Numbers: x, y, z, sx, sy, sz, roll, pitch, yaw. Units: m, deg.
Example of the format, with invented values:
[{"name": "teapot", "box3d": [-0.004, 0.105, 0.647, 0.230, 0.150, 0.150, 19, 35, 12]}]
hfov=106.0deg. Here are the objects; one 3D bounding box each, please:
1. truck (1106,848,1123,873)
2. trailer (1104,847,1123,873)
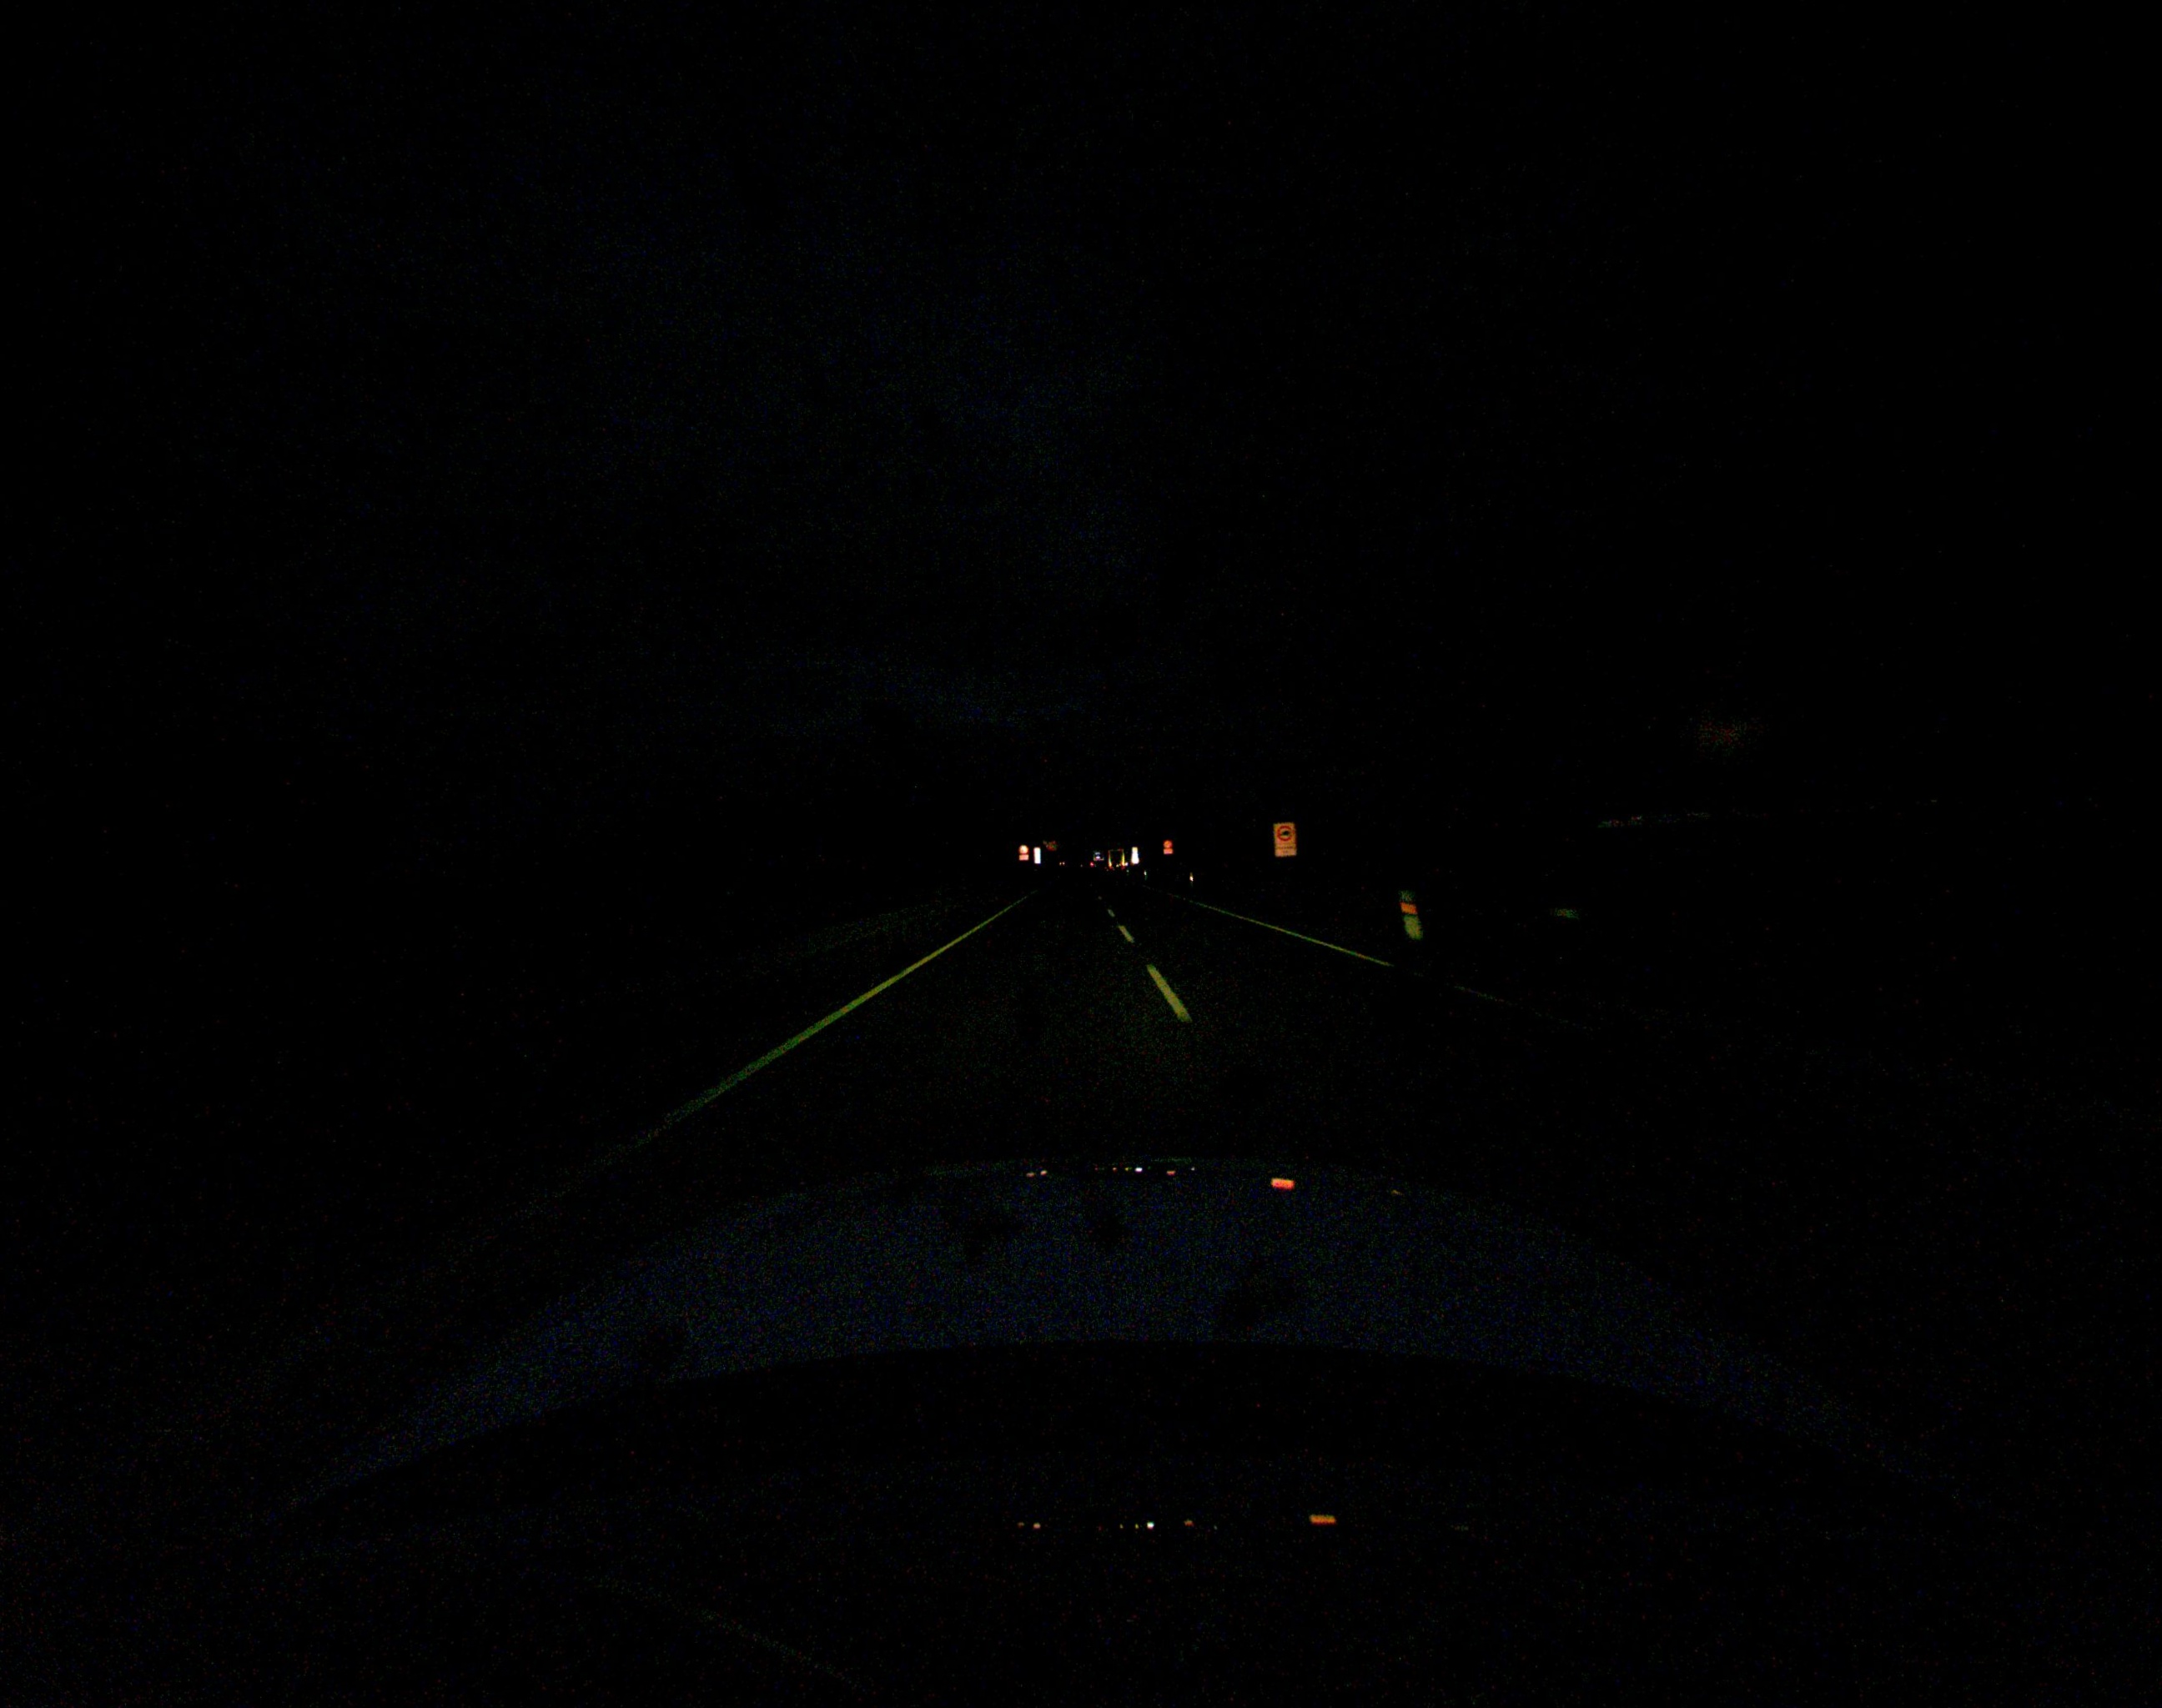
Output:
[{"name": "truck", "box3d": [5.653, 1.011, 136.914, 2.571, 4.071, 6.130, -1, 0, 1]}, {"name": "trailer", "box3d": [5.633, 1.078, 142.992, 2.614, 4.104, 12.933, -2, -1, 0]}]
